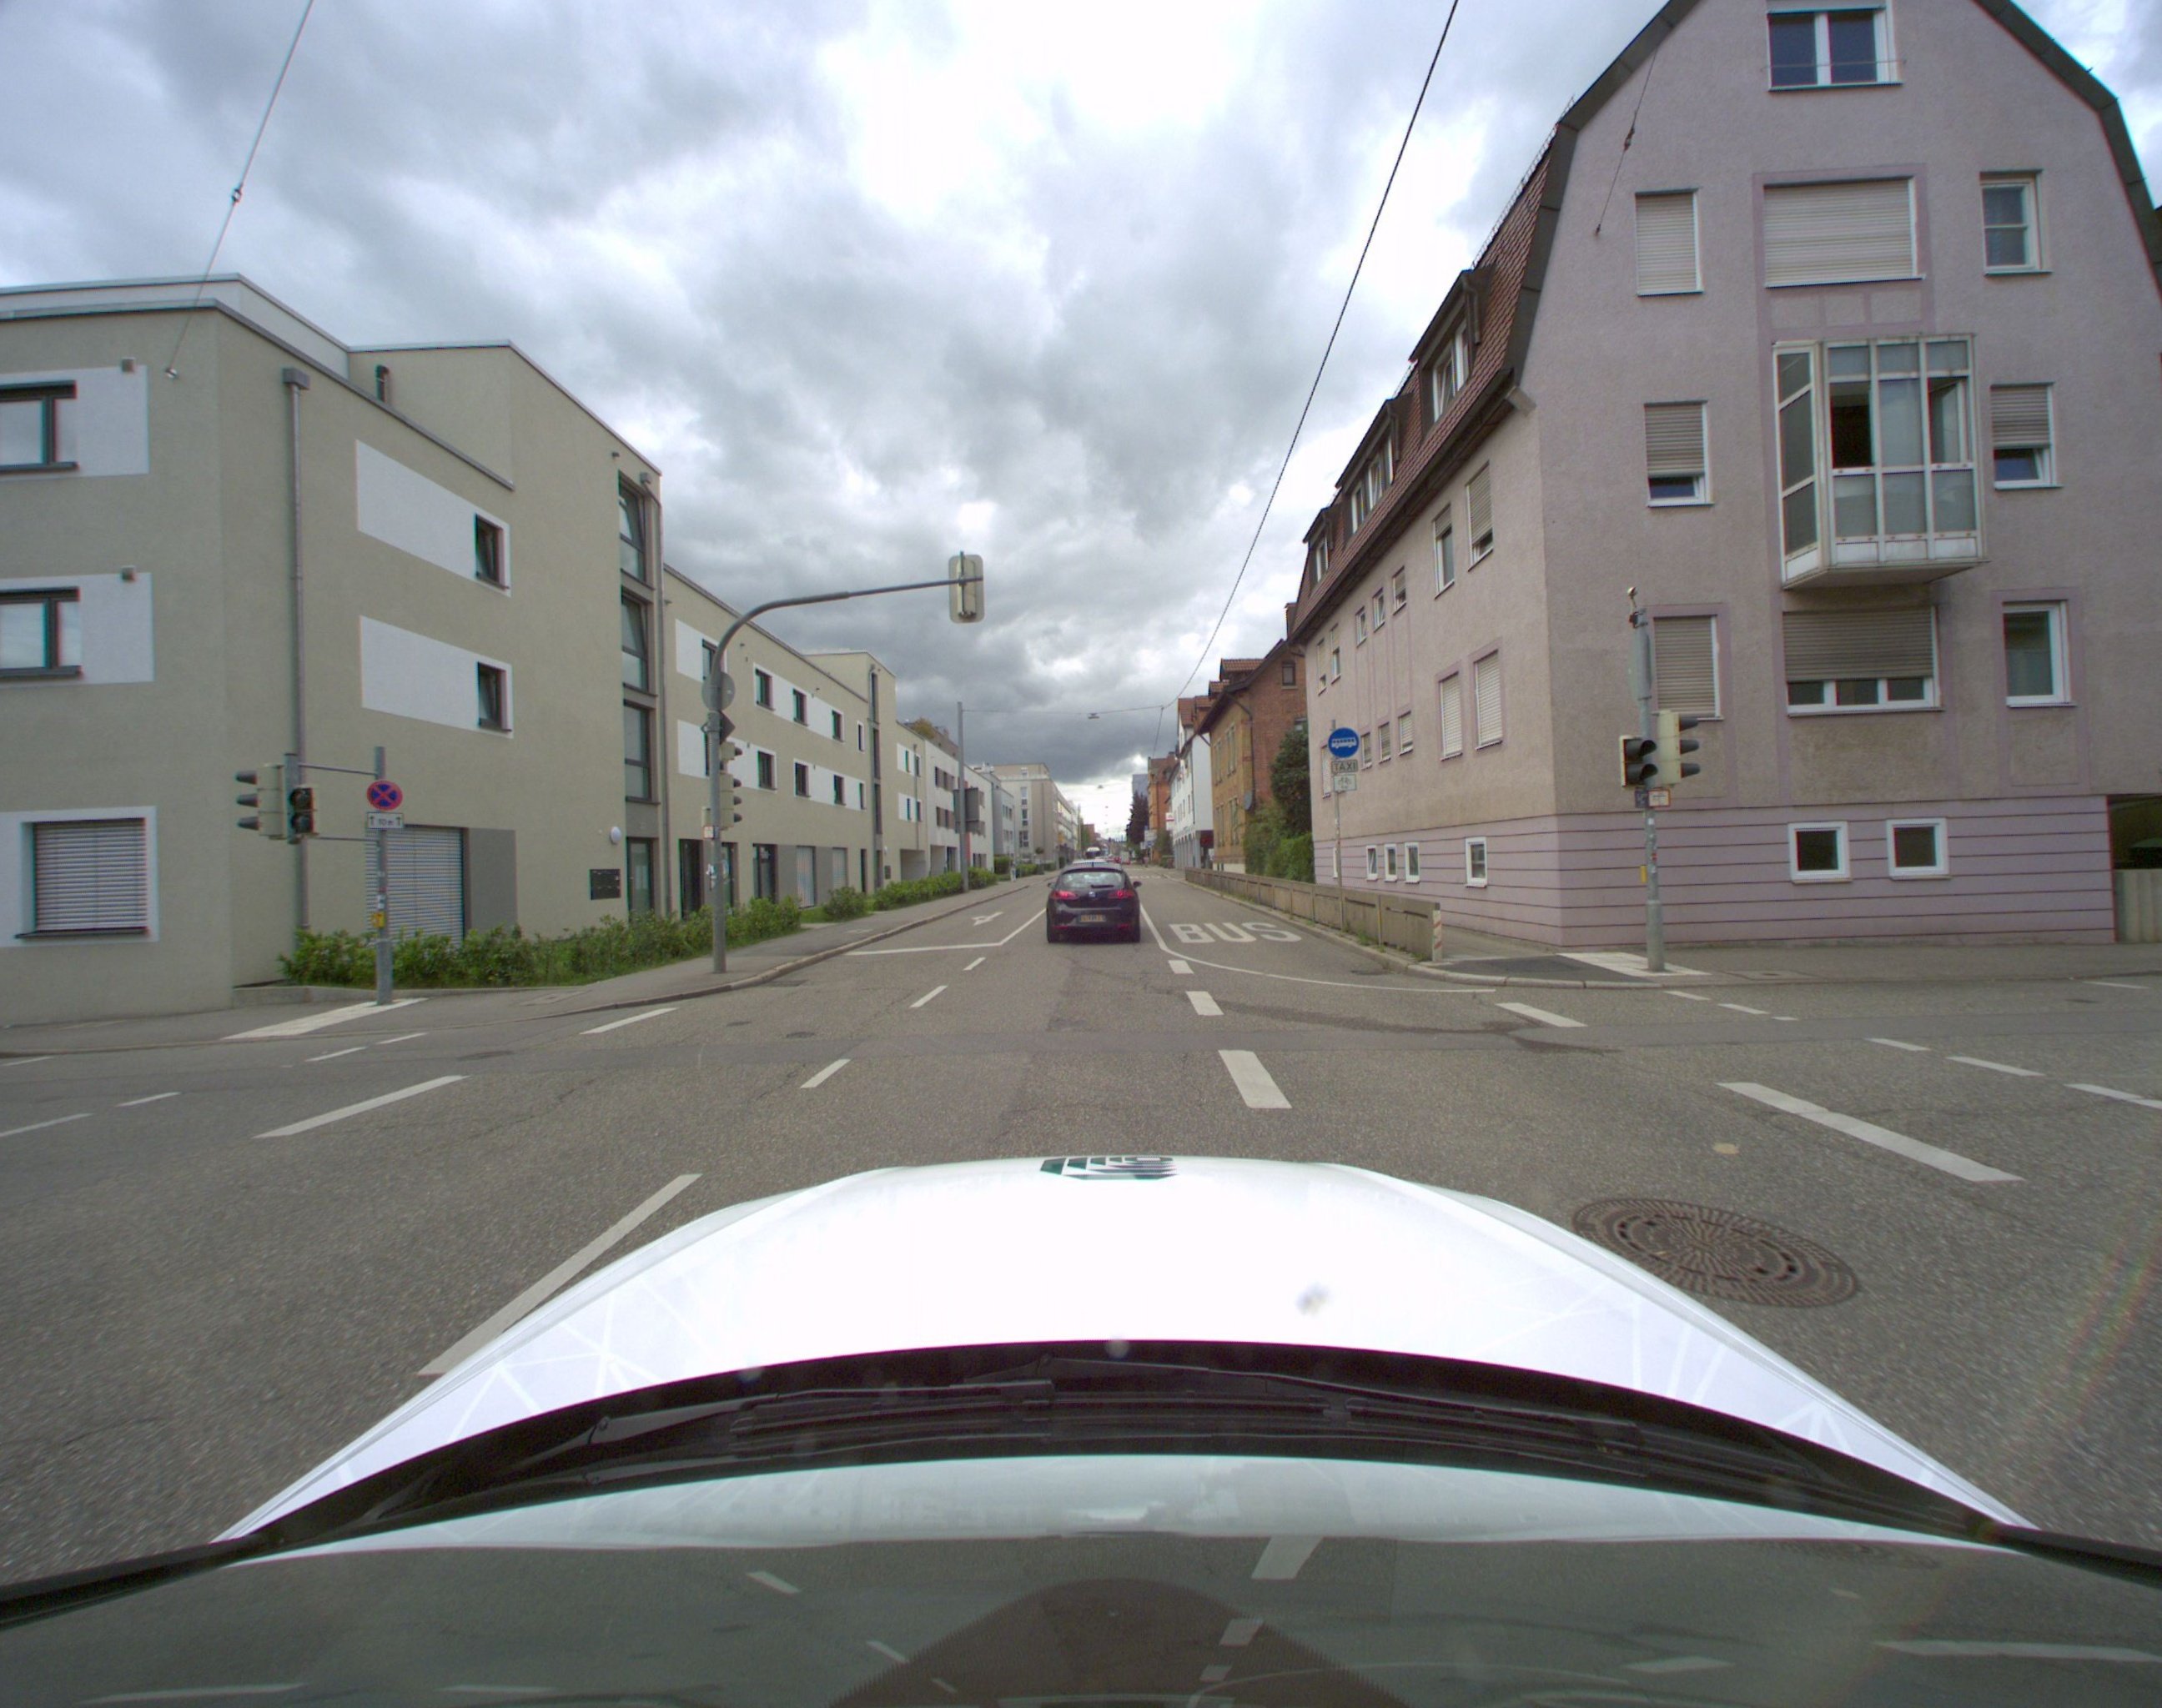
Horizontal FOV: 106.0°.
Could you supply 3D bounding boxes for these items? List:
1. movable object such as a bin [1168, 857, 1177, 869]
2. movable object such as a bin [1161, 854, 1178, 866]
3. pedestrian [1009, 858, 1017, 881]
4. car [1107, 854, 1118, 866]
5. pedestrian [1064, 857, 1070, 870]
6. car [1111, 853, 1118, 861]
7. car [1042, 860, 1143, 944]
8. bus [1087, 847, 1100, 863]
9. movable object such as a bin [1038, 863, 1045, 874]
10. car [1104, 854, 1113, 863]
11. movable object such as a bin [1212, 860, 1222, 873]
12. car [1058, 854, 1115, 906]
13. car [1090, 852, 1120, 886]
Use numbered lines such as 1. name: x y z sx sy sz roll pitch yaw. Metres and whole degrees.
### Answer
1. movable object such as a bin: 10.078 0.950 89.833 0.924 1.283 0.883 -1 -1 3
2. movable object such as a bin: 10.204 0.699 94.199 1.810 1.437 1.994 -1 -1 3
3. pedestrian: -4.740 1.069 56.779 0.524 1.548 0.541 -1 -1 2
4. car: 4.468 0.880 115.410 1.526 1.693 3.694 -1 -1 2
5. pedestrian: -1.944 1.297 113.482 0.728 1.729 0.860 -1 -1 1
6. car: 7.513 0.765 183.163 1.526 1.693 3.695 -2 0 2
7. car: 0.284 0.861 16.307 1.752 1.442 4.002 -1 -1 2
8. bus: 2.415 0.268 153.341 2.201 2.886 8.924 -1 -1 2
9. movable object such as a bin: -3.771 1.355 77.462 0.547 1.078 0.612 -1 -1 3
10. car: 5.308 0.824 156.321 1.526 1.693 3.695 -3 0 2
11. movable object such as a bin: 8.576 0.787 51.435 0.590 0.840 0.458 -1 -1 2
12. car: 0.254 0.880 28.911 1.835 1.693 4.001 -1 -1 2
13. car: 1.289 0.801 44.010 1.526 1.693 3.694 -1 -1 2
